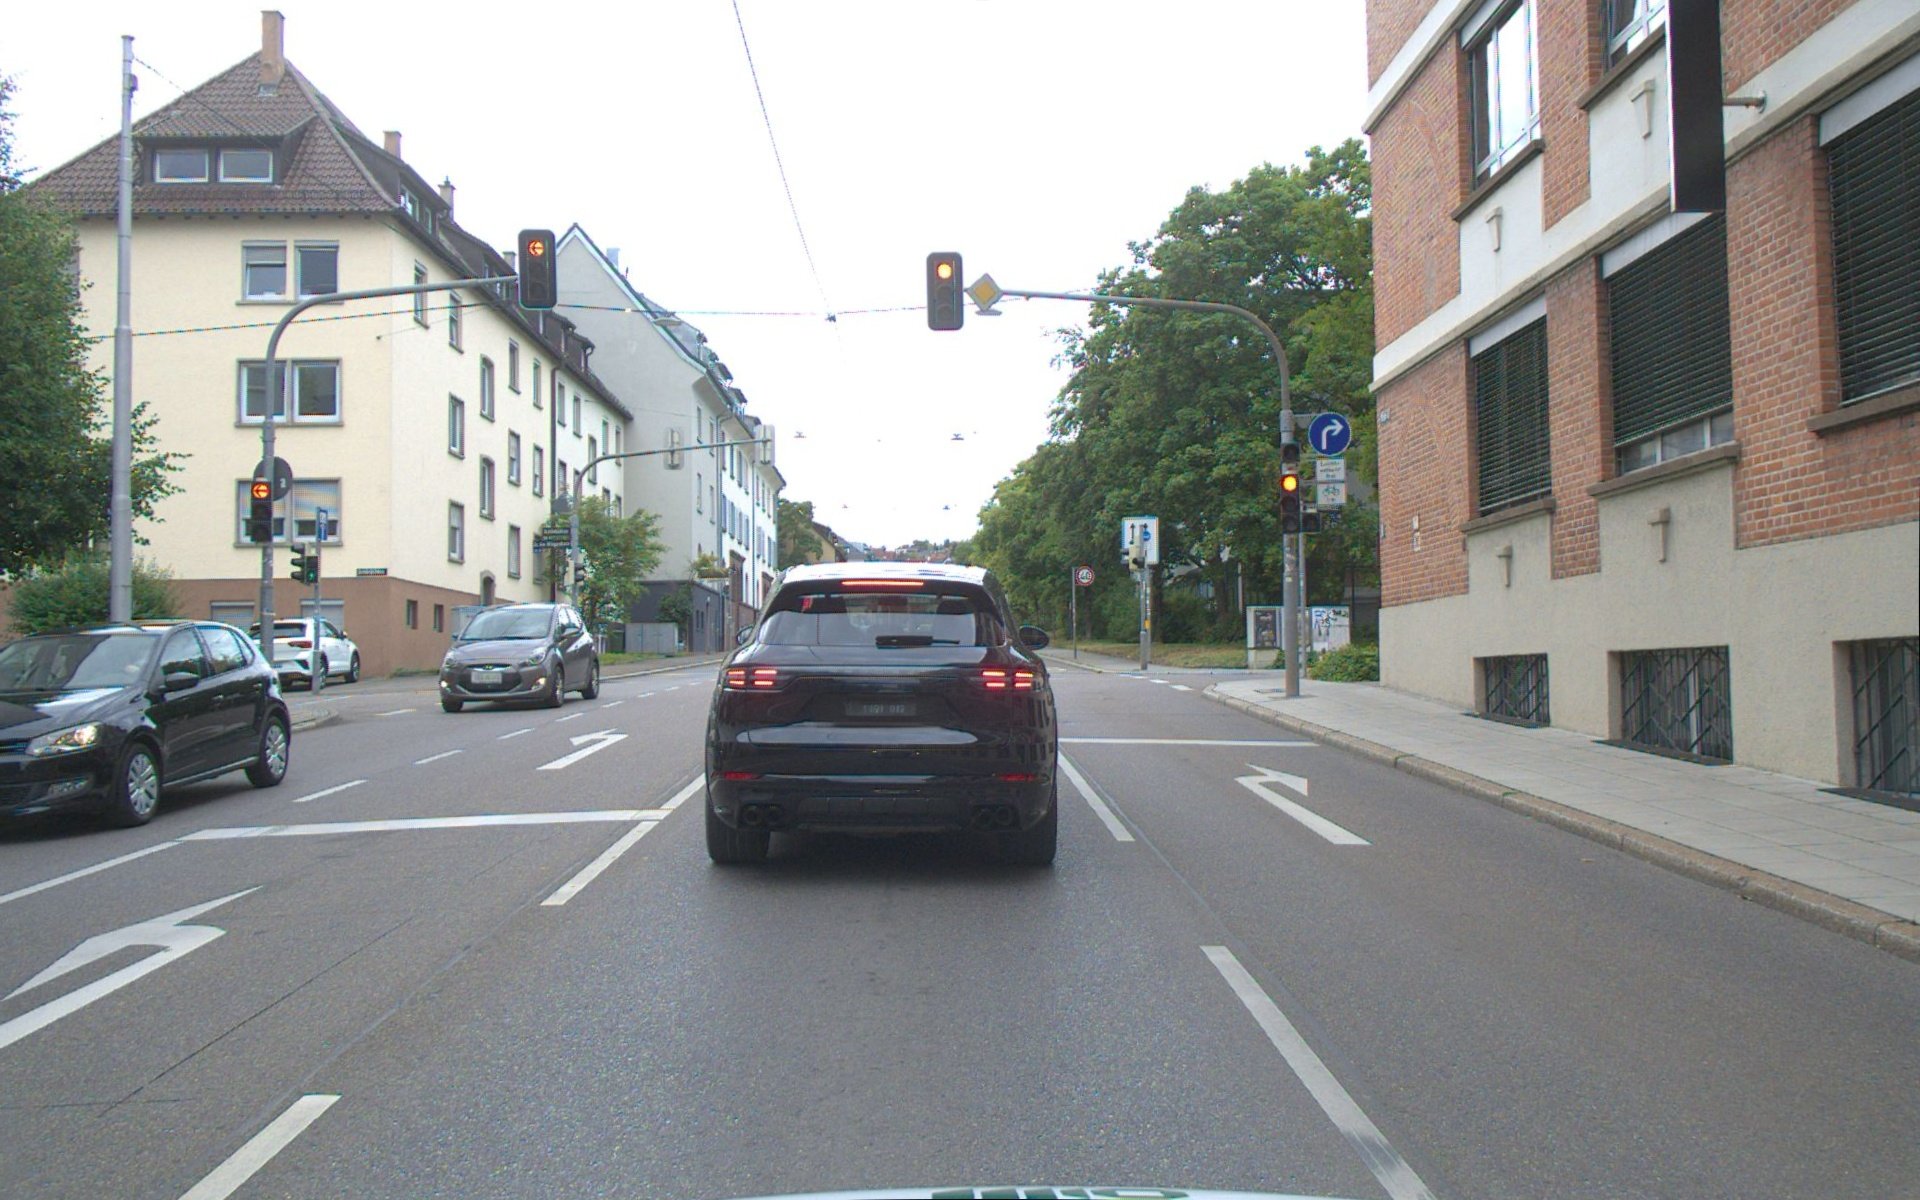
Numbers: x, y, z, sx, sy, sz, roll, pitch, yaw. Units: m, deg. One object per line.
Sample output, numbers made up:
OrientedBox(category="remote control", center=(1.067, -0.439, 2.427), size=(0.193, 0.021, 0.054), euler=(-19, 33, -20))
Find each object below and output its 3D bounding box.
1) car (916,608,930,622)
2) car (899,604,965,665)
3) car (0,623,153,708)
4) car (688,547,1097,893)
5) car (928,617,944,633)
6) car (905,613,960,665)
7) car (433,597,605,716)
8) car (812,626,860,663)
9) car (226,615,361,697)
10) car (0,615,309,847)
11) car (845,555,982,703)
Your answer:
OrientedBox(category="car", center=(-4.741, 1.950, 213.825), size=(1.790, 1.633, 4.134), euler=(1, 0, -1))
OrientedBox(category="car", center=(-0.778, 0.956, 47.454), size=(1.790, 1.633, 4.134), euler=(1, 0, -1))
OrientedBox(category="car", center=(-19.648, 1.410, 36.851), size=(1.658, 1.636, 3.762), euler=(-3, 1, -5))
OrientedBox(category="car", center=(-0.353, 0.586, 10.363), size=(2.007, 1.695, 4.266), euler=(1, 0, -1))
OrientedBox(category="car", center=(-2.681, 2.805, 186.056), size=(1.790, 1.633, 4.134), euler=(1, 0, -1))
OrientedBox(category="car", center=(-0.909, 1.289, 56.164), size=(1.790, 1.633, 3.858), euler=(1, 0, -1))
OrientedBox(category="car", center=(-6.835, 0.821, 26.009), size=(1.669, 1.614, 3.935), euler=(-3, 0, -2))
OrientedBox(category="car", center=(-5.409, 1.922, 72.838), size=(1.749, 1.443, 4.669), euler=(-3, 0, -1))
OrientedBox(category="car", center=(-14.807, 1.203, 36.938), size=(1.658, 1.582, 3.762), euler=(-3, 1, -5))
OrientedBox(category="car", center=(-6.535, 0.896, 12.672), size=(1.640, 1.424, 3.793), euler=(-3, 0, -2))
OrientedBox(category="car", center=(-0.680, 0.403, 25.538), size=(1.925, 2.078, 4.134), euler=(1, 0, -1))
